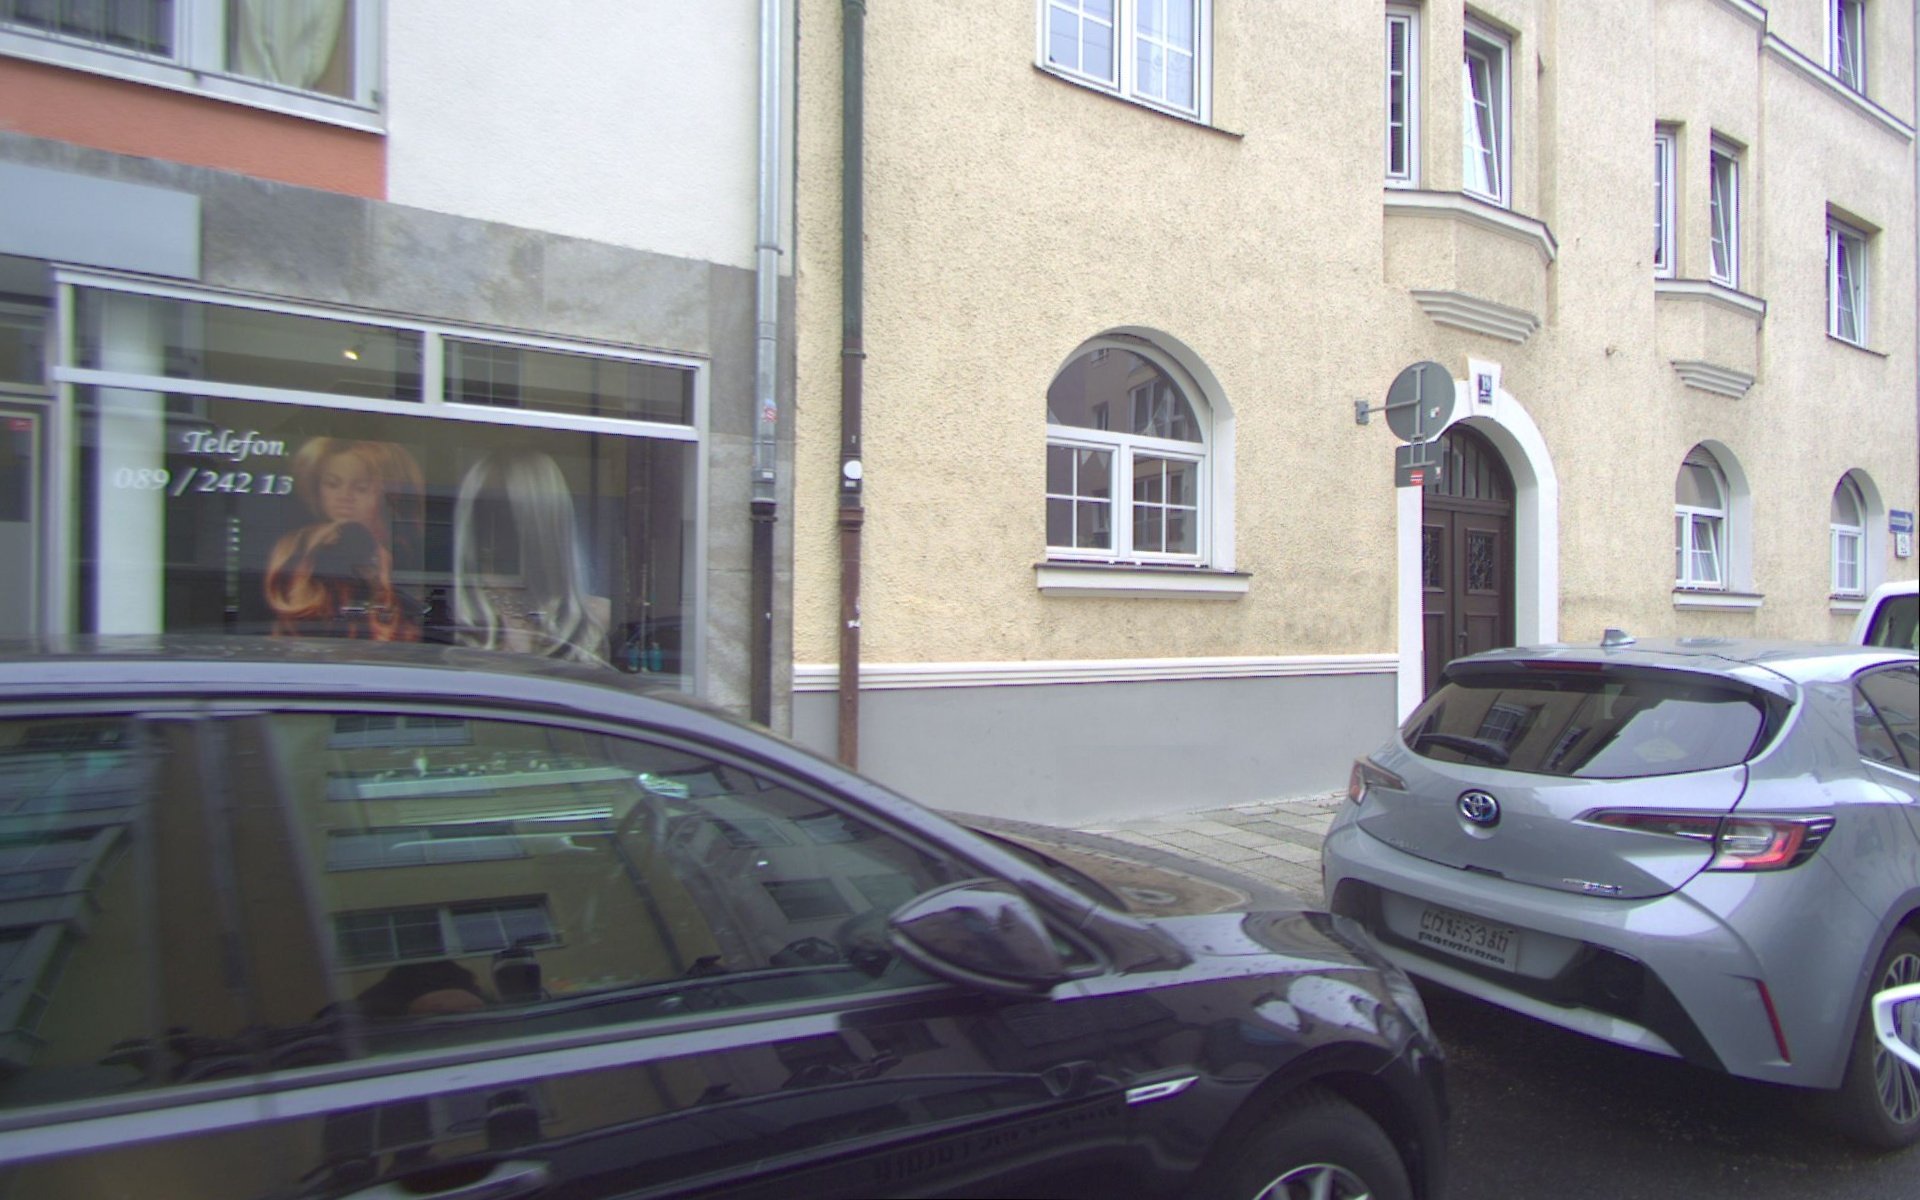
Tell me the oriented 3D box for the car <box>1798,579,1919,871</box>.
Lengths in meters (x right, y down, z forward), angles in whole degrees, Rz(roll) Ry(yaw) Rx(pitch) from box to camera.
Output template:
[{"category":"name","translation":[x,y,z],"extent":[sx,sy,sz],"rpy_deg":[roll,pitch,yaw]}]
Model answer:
[{"category":"car","translation":[7.926,0.816,7.028],"extent":[4.196,1.812,1.717],"rpy_deg":[2,-3,-29]}]

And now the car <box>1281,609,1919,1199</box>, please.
[{"category":"car","translation":[3.404,0.884,4.151],"extent":[4.063,1.494,1.665],"rpy_deg":[2,-4,-30]}]

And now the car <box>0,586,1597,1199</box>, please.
[{"category":"car","translation":[-0.708,0.782,1.844],"extent":[3.797,1.494,1.620],"rpy_deg":[1,-3,-31]}]
